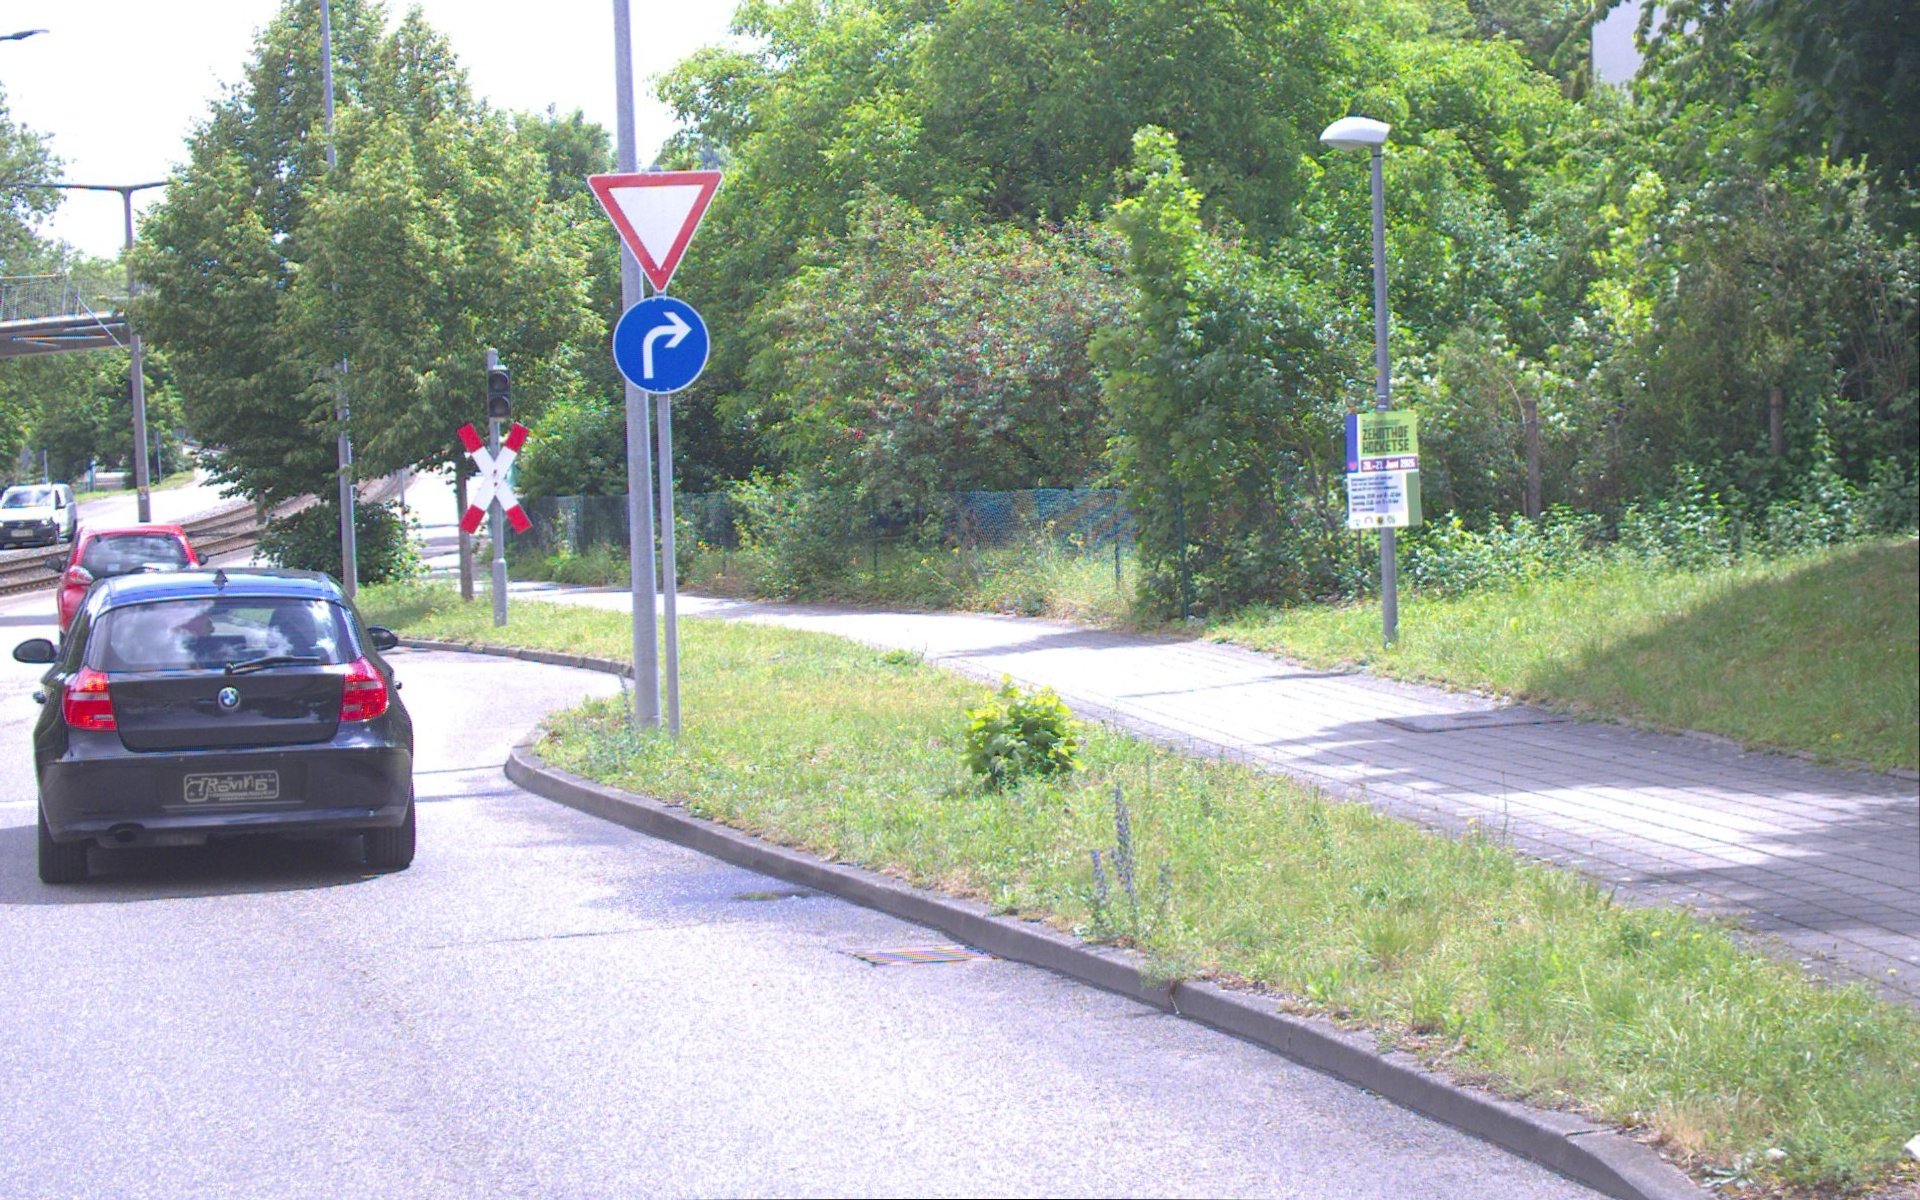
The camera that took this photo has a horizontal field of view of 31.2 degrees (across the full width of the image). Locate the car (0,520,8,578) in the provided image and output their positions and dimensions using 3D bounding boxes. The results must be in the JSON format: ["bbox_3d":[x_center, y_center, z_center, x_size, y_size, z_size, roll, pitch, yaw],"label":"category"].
[{"bbox_3d":[-31.947,-1.582,109.761,1.993,1.856,4.001,-2,2,-1],"label":"car"}]

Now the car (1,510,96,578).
[{"bbox_3d":[-28.075,-1.745,105.993,1.993,2.006,4.001,-2,2,-3],"label":"car"}]

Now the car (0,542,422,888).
[{"bbox_3d":[-3.742,0.509,16.991,1.815,1.416,4.001,-3,0,-13],"label":"car"}]

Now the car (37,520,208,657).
[{"bbox_3d":[-9.622,-0.130,39.526,1.765,1.427,3.480,-3,1,-14],"label":"car"}]
